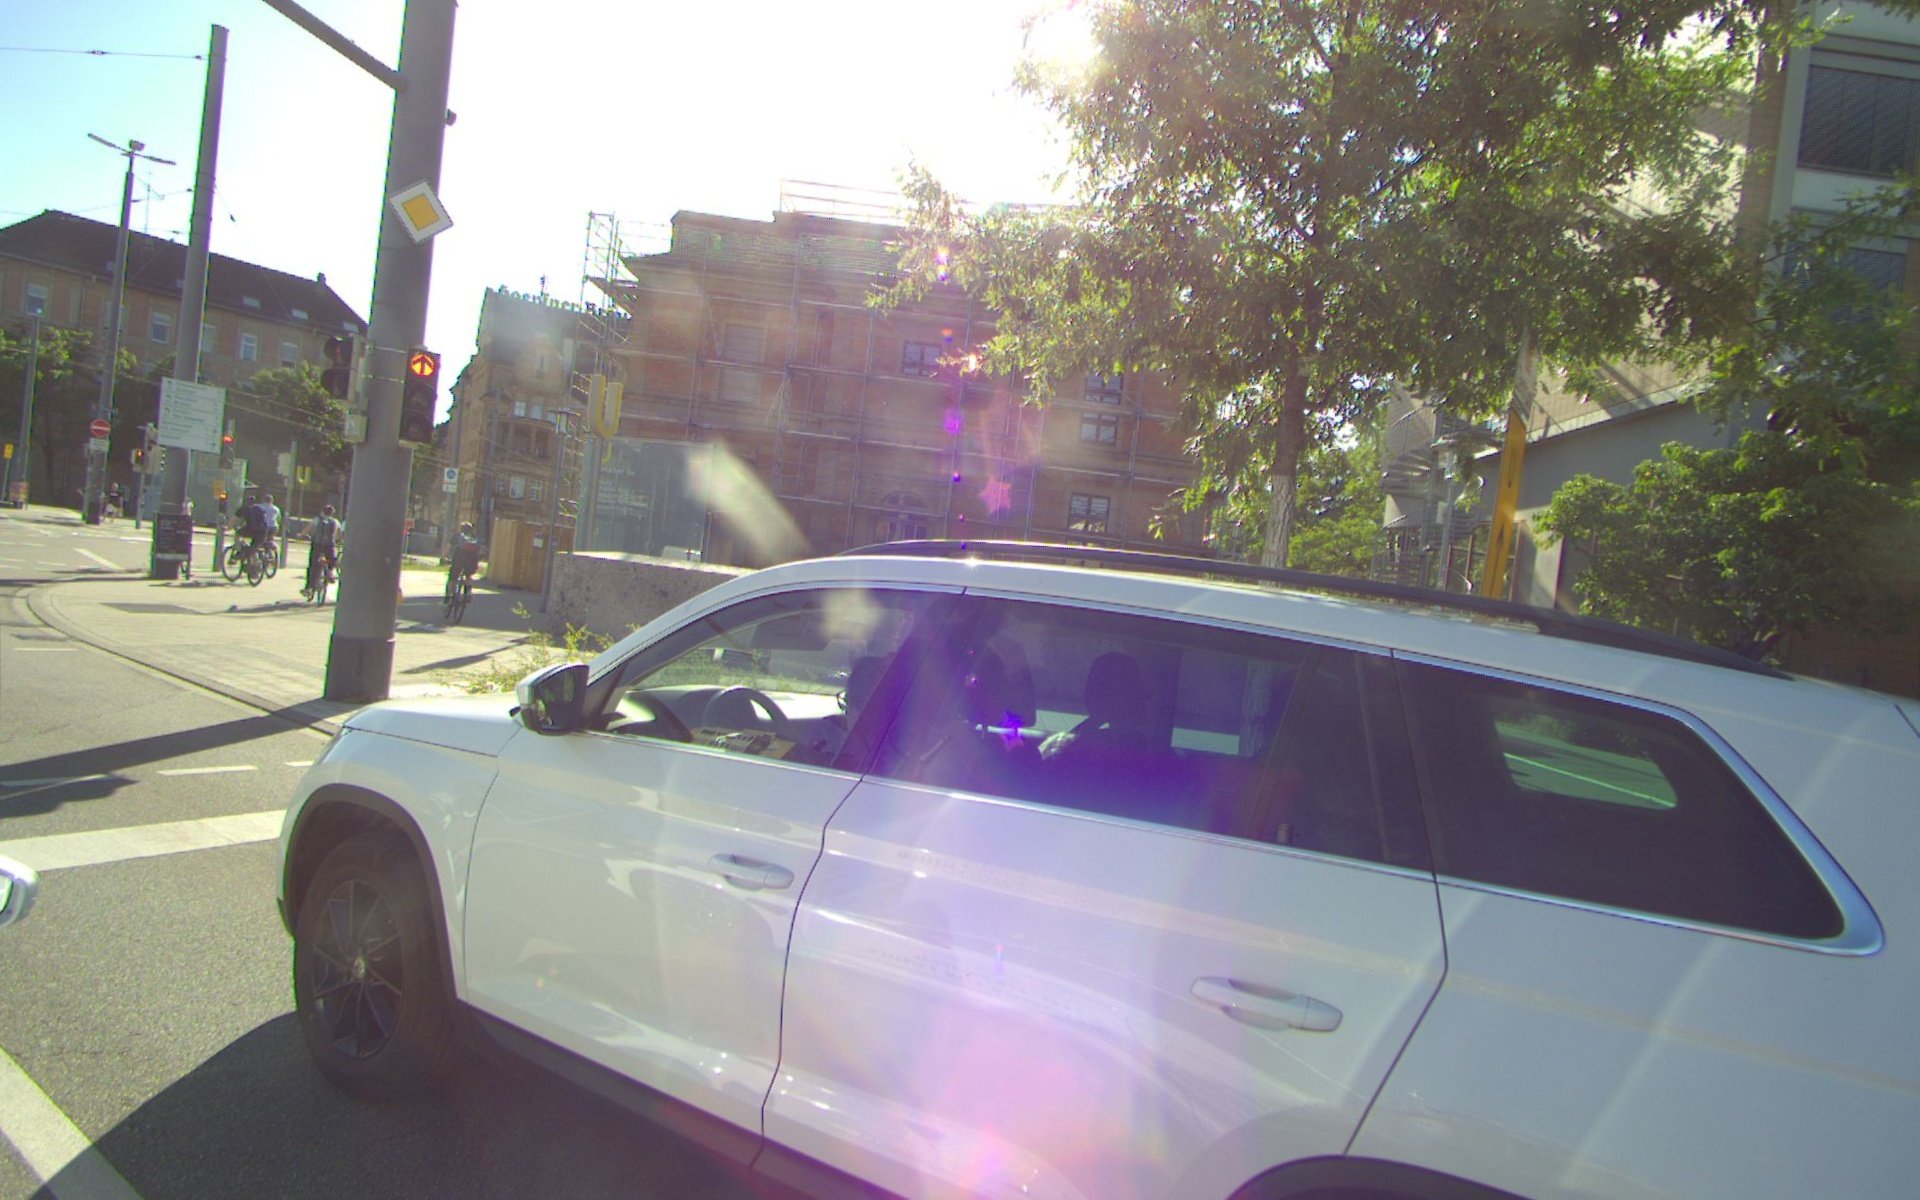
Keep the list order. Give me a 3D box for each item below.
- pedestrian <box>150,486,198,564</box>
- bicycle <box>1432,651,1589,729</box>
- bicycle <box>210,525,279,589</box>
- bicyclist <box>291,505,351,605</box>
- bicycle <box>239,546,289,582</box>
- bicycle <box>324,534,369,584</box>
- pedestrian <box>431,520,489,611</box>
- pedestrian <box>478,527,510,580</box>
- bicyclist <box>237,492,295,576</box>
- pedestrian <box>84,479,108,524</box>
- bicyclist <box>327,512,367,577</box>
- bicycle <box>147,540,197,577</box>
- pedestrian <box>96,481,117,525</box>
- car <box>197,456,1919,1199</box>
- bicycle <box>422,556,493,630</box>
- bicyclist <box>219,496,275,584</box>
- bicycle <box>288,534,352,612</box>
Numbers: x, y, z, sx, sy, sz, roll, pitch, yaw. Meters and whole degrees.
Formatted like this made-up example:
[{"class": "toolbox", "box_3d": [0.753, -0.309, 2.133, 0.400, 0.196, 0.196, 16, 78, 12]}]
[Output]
[{"class": "pedestrian", "box_3d": [-17.010, -1.616, 21.762, 0.846, 1.582, 0.547, 7, 1, 40]}, {"class": "bicycle", "box_3d": [13.082, 2.121, 23.994, 3.079, 1.395, 0.798, 7, 1, 8]}, {"class": "bicycle", "box_3d": [-14.343, -0.864, 20.148, 1.824, 1.129, 0.624, 7, 3, 39]}, {"class": "bicyclist", "box_3d": [-10.971, -0.776, 17.261, 0.681, 1.619, 0.967, 5, 2, -38]}, {"class": "bicycle", "box_3d": [-15.896, -0.835, 22.971, 1.446, 0.664, 0.536, 7, 2, 39]}, {"class": "bicycle", "box_3d": [-15.821, -1.074, 25.919, 0.569, 1.139, 1.719, 6, 1, -43]}, {"class": "pedestrian", "box_3d": [-8.336, -0.576, 16.759, 0.514, 1.421, 0.949, 3, 3, -44]}, {"class": "pedestrian", "box_3d": [-17.600, -1.751, 38.020, 0.887, 1.883, 0.922, 6, 1, -23]}, {"class": "bicyclist", "box_3d": [-15.776, -1.499, 22.876, 0.910, 1.802, 0.746, 8, 2, 39]}, {"class": "pedestrian", "box_3d": [-41.172, -4.675, 47.964, 0.443, 2.039, 0.574, 7, 1, 14]}, {"class": "bicyclist", "box_3d": [-15.830, -1.436, 25.977, 0.569, 1.588, 0.935, 6, 1, -43]}, {"class": "bicycle", "box_3d": [-17.200, -0.918, 21.949, 1.701, 0.664, 0.535, 7, 3, 41]}, {"class": "pedestrian", "box_3d": [-41.369, -4.675, 48.759, 0.443, 2.039, 0.462, 7, 2, 14]}, {"class": "car", "box_3d": [0.022, 0.675, 2.680, 4.224, 1.662, 1.697, 7, 0, 30]}, {"class": "bicycle", "box_3d": [-8.440, -0.129, 16.847, 0.514, 1.058, 1.746, 3, 3, -44]}, {"class": "bicyclist", "box_3d": [-14.222, -1.194, 20.057, 0.980, 1.660, 0.624, 7, 4, 39]}, {"class": "bicycle", "box_3d": [-10.968, -0.480, 17.216, 0.681, 1.178, 1.863, 5, 1, -38]}]
